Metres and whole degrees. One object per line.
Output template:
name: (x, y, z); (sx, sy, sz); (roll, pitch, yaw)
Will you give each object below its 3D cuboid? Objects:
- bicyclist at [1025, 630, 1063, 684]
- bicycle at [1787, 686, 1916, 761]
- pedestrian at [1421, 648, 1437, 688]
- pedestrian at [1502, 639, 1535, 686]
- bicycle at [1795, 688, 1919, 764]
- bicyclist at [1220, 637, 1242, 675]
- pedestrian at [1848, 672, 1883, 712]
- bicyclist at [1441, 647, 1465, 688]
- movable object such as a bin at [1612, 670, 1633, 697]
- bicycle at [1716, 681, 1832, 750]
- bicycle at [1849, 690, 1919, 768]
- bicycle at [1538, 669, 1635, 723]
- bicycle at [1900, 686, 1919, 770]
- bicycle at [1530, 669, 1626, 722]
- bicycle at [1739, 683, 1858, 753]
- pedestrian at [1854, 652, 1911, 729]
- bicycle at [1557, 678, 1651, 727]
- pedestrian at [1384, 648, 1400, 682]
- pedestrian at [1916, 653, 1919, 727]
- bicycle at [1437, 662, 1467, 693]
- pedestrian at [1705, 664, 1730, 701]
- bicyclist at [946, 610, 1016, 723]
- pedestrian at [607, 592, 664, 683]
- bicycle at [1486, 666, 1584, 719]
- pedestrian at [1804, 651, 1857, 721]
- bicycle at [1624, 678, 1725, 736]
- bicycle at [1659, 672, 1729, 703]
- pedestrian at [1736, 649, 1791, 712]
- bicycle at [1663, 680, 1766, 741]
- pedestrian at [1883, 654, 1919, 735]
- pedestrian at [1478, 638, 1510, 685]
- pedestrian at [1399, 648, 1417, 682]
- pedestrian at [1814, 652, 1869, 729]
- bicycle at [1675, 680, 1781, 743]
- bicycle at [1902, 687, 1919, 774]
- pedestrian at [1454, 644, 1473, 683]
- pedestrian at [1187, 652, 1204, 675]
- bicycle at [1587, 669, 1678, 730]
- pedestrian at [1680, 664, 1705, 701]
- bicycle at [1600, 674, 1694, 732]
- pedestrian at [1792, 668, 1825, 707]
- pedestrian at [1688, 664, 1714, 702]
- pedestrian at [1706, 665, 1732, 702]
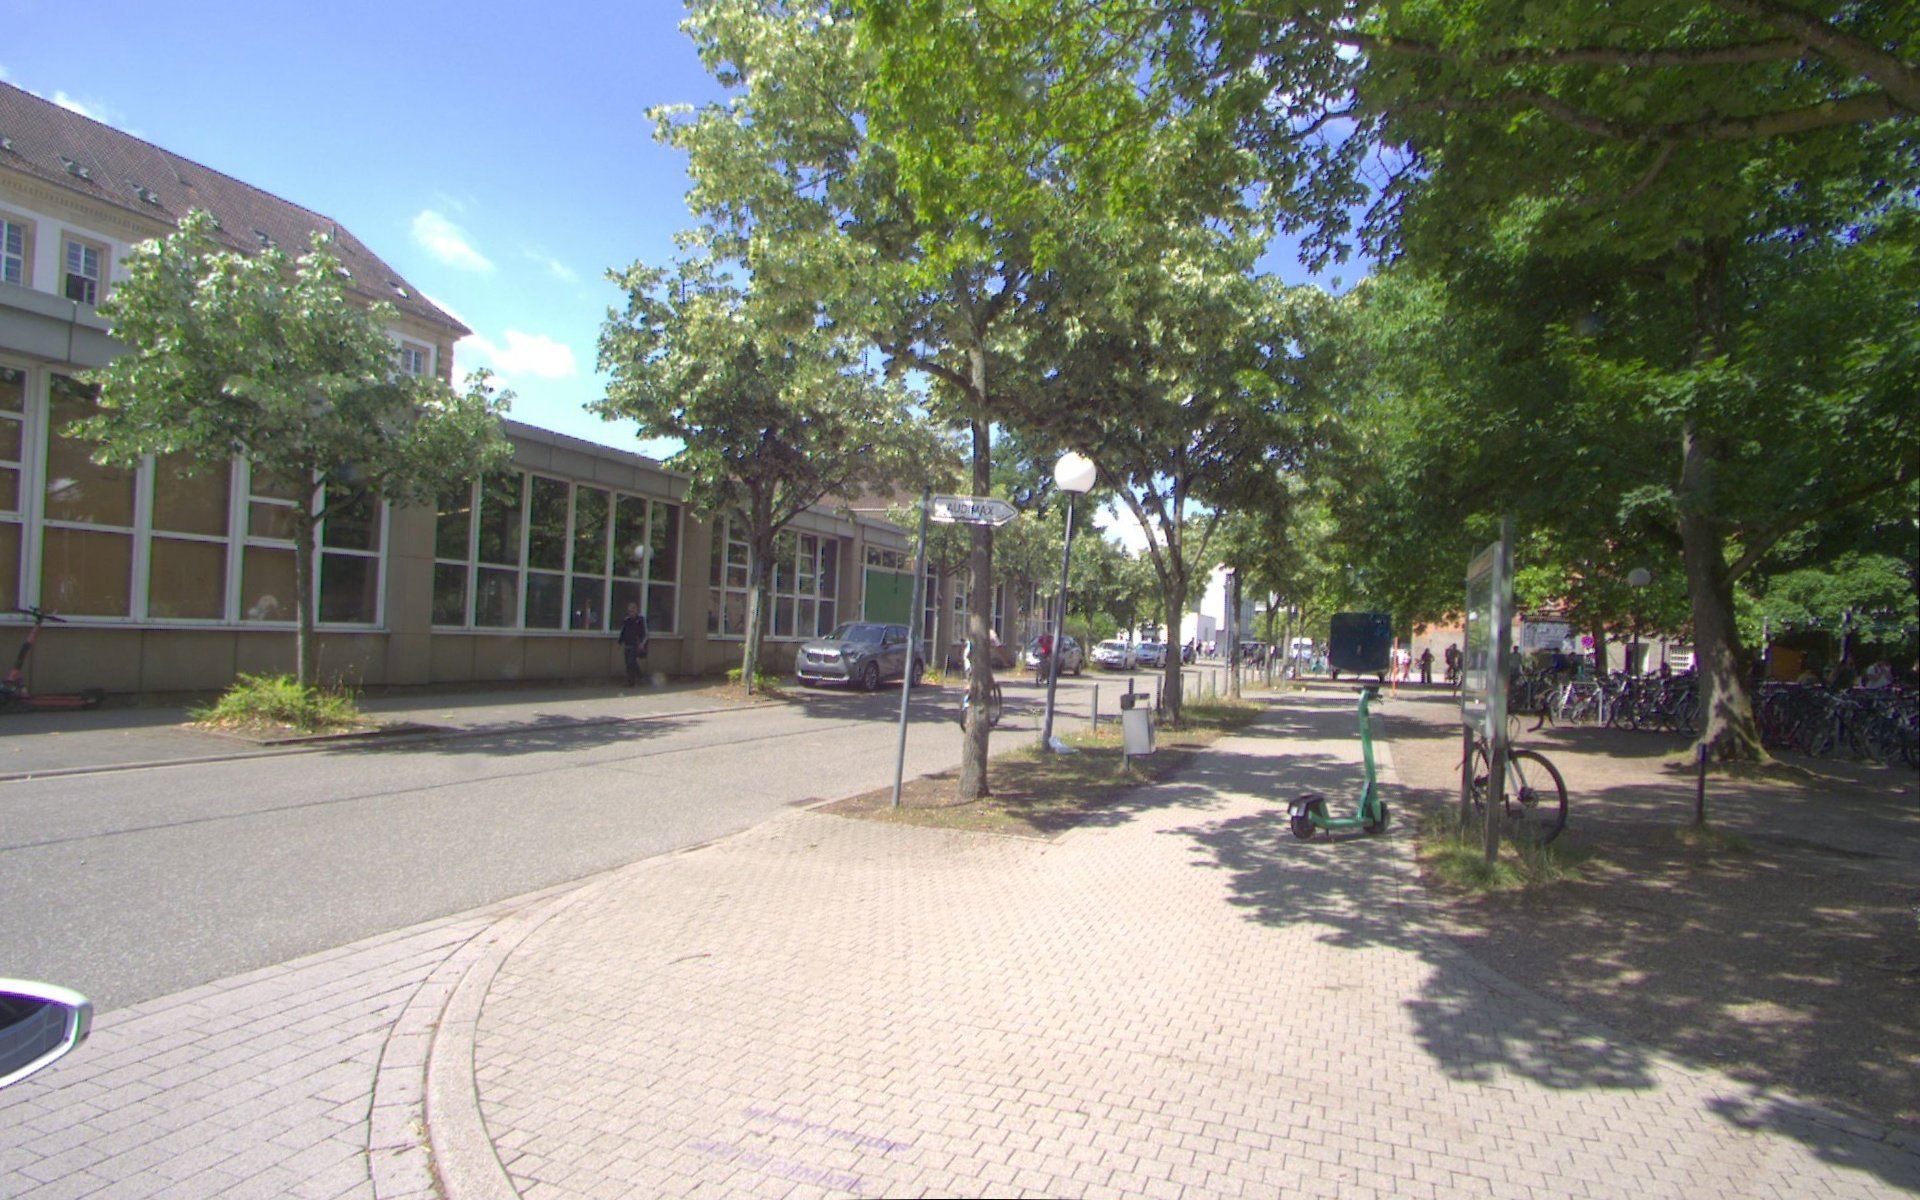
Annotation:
bicyclist: (2.586, 1.738, 30.627); (0.823, 1.563, 0.958); (5, 0, 19)
bicycle: (14.118, 1.953, 15.861); (1.759, 1.084, 0.426); (3, -1, -6)
pedestrian: (19.404, 2.813, 41.436); (0.560, 1.590, 0.926); (1, -4, 22)
pedestrian: (23.964, 2.658, 42.993); (0.819, 1.974, 1.079); (1, -1, 2)
bicycle: (13.883, 1.937, 15.422); (1.759, 1.084, 0.426); (3, -1, -6)
bicyclist: (13.043, 2.709, 48.203); (0.797, 1.778, 0.691); (3, -1, 23)
pedestrian: (30.542, 3.097, 33.784); (0.657, 1.287, 0.621); (-1, -1, 18)
bicyclist: (21.636, 2.948, 43.961); (0.521, 1.751, 1.079); (1, -1, 2)
movable object such as a bin: (27.947, 3.528, 42.268); (0.591, 1.084, 0.741); (2, -3, 23)
bicycle: (13.879, 1.973, 17.081); (1.759, 1.084, 0.426); (3, -1, -8)
bicycle: (14.093, 1.919, 14.825); (1.761, 1.084, 0.426); (3, -1, -13)
bicycle: (13.632, 2.088, 21.808); (1.876, 1.073, 0.325); (2, -1, 0)
bicycle: (14.492, 1.866, 14.438); (1.760, 1.185, 0.402); (3, -1, -11)
bicycle: (13.642, 2.099, 22.119); (1.876, 1.073, 0.325); (2, -1, 0)
bicycle: (13.934, 1.957, 16.644); (1.759, 1.084, 0.426); (3, -1, -8)
pedestrian: (22.582, 2.208, 24.521); (0.731, 1.798, 0.720); (2, 0, 15)
bicycle: (13.487, 2.149, 20.990); (1.705, 0.921, 0.494); (3, -1, -7)
pedestrian: (22.154, 3.328, 51.374); (0.687, 1.682, 0.787); (2, -2, 23)
pedestrian: (23.468, 2.180, 23.838); (0.731, 1.798, 0.720); (2, 0, 15)
bicycle: (21.629, 3.391, 44.016); (0.521, 1.268, 1.738); (1, -2, 2)
pedestrian: (28.999, 3.153, 38.339); (0.561, 1.364, 0.728); (-1, -1, 18)
bicyclist: (0.352, 1.094, 16.712); (0.760, 1.779, 0.846); (5, 0, 24)
pedestrian: (-6.780, 0.781, 20.946); (0.777, 1.810, 0.669); (4, 1, 24)
bicycle: (13.305, 2.139, 23.193); (1.913, 1.096, 0.404); (2, -1, 11)
pedestrian: (23.258, 2.289, 26.761); (0.730, 1.798, 0.721); (2, 0, -3)
bicycle: (13.771, 2.062, 19.311); (1.763, 1.041, 0.440); (3, -1, -10)
bicycle: (31.453, 3.746, 42.956); (2.371, 1.085, 0.779); (3, -1, 35)
pedestrian: (24.265, 2.415, 30.260); (0.943, 1.798, 0.919); (2, 0, 15)
bicycle: (13.867, 2.030, 18.407); (1.760, 1.041, 0.381); (3, -1, -10)
pedestrian: (21.832, 2.151, 22.900); (0.731, 1.798, 0.720); (2, 0, -9)
pedestrian: (22.952, 2.637, 43.041); (0.819, 1.974, 1.079); (1, -1, 2)
pedestrian: (22.834, 3.314, 51.056); (0.754, 1.682, 0.822); (2, -2, 23)
pedestrian: (21.775, 2.219, 24.745); (0.731, 1.798, 0.720); (2, 0, 15)
bicycle: (13.827, 2.005, 18.038); (1.759, 1.041, 0.381); (3, -1, -9)
bicycle: (14.051, 1.837, 13.934); (1.760, 1.185, 0.402); (3, -1, -11)
pedestrian: (24.814, 3.129, 49.356); (0.754, 1.878, 0.822); (2, -2, 23)
pedestrian: (17.090, 4.571, 72.617); (0.836, 1.615, 0.828); (2, -1, -20)
bicycle: (13.782, 2.033, 20.524); (1.707, 1.170, 0.494); (3, -1, -14)
pedestrian: (28.242, 3.165, 38.603); (0.561, 1.364, 0.728); (-1, -1, 18)
bicycle: (13.559, 2.032, 19.755); (1.707, 1.066, 0.494); (3, -1, -14)
pedestrian: (30.240, 3.110, 35.694); (0.657, 1.364, 0.718); (-1, -1, 18)
pedestrian: (28.001, 3.128, 37.844); (0.561, 1.364, 0.728); (-1, -1, 18)
pedestrian: (28.544, 3.129, 37.661); (0.561, 1.364, 0.728); (-1, -1, 18)
